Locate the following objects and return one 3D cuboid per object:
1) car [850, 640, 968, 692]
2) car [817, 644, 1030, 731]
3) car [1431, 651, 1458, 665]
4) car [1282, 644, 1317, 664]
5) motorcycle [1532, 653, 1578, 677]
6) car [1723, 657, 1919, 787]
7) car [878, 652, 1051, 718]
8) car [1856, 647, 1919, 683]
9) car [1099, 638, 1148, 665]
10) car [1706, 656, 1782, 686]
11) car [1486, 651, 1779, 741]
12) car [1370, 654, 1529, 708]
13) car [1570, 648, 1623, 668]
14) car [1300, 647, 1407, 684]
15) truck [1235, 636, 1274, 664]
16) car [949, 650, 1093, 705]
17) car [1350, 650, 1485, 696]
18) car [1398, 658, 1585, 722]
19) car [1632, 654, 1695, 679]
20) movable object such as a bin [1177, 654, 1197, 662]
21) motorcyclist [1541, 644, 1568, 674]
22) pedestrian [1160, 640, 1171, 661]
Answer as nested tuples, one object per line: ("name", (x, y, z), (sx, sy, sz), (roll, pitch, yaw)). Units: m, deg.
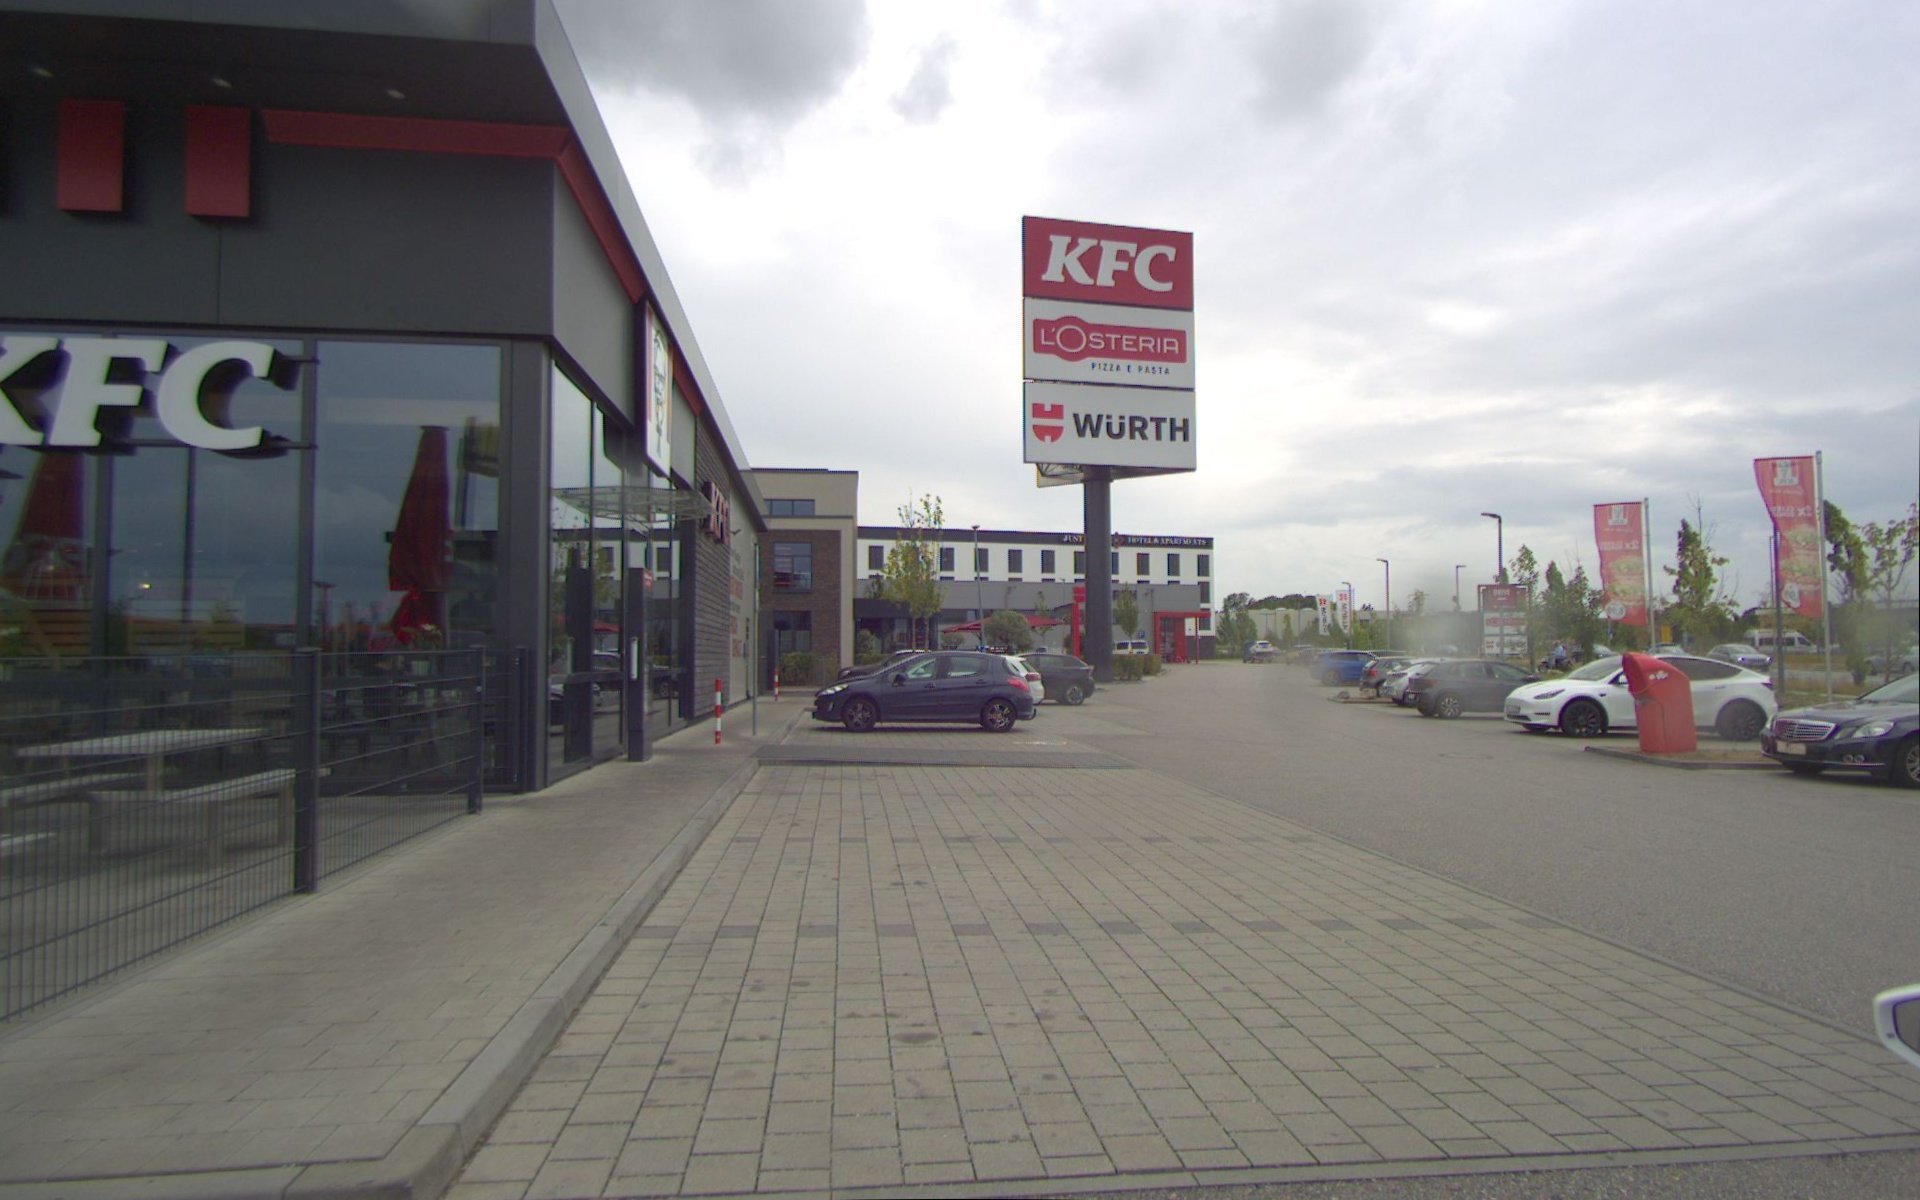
("car", (-1.800, 2.261, 34.641), (3.925, 1.616, 1.735), (-2, -3, -6))
("car", (-0.726, 1.647, 19.284), (3.865, 1.506, 1.757), (2, -2, -6))
("car", (47.543, 5.678, 98.610), (1.436, 1.354, 3.166), (-1, -3, 6))
("car", (28.971, 4.640, 85.782), (1.825, 1.671, 4.002), (1, -3, 2))
("motorcycle", (31.169, 3.414, 52.681), (1.882, 1.224, 0.795), (-1, -3, 13))
("car", (12.747, 1.534, 12.799), (4.649, 1.475, 1.912), (1, -2, -1))
("car", (0.050, 2.066, 24.870), (4.101, 1.505, 1.999), (0, -2, -6))
("car", (44.922, 3.031, 47.538), (1.766, 1.572, 4.857), (-3, -3, 17))
("car", (13.213, 4.201, 81.235), (2.031, 1.879, 4.044), (-5, -2, -21))
("car", (43.328, 3.902, 55.600), (1.793, 1.478, 4.003), (-3, -3, 15))
("car", (13.133, 1.849, 19.862), (4.454, 1.561, 1.927), (1, -2, 4))
("car", (14.410, 2.358, 29.744), (3.859, 1.430, 1.841), (1, -2, 9))
("car", (47.259, 4.263, 74.669), (1.733, 1.413, 4.223), (-1, -3, 9))
("car", (17.150, 2.867, 44.002), (4.131, 1.564, 1.866), (-1, -2, 14))
("truck", (29.920, 5.130, 102.276), (2.292, 2.437, 7.906), (1, -5, 5))
("car", (1.765, 2.275, 29.740), (4.046, 1.548, 1.740), (1, -3, -6))
("car", (15.559, 2.461, 34.337), (3.919, 1.447, 1.729), (0, -2, 12))
("car", (13.100, 2.201, 24.949), (3.731, 1.430, 1.740), (1, -2, 6))
("car", (45.683, 4.277, 65.297), (1.819, 1.518, 4.288), (-1, -3, 13))
("movable object such as a bin", (20.135, 5.134, 88.966), (1.466, 0.713, 0.964), (1, -3, -10))
("motorcyclist", (31.173, 3.099, 52.687), (0.922, 1.508, 0.831), (-1, -3, 13))
("pedestrian", (18.601, 4.568, 91.057), (0.666, 1.826, 0.879), (0, -2, -9))
